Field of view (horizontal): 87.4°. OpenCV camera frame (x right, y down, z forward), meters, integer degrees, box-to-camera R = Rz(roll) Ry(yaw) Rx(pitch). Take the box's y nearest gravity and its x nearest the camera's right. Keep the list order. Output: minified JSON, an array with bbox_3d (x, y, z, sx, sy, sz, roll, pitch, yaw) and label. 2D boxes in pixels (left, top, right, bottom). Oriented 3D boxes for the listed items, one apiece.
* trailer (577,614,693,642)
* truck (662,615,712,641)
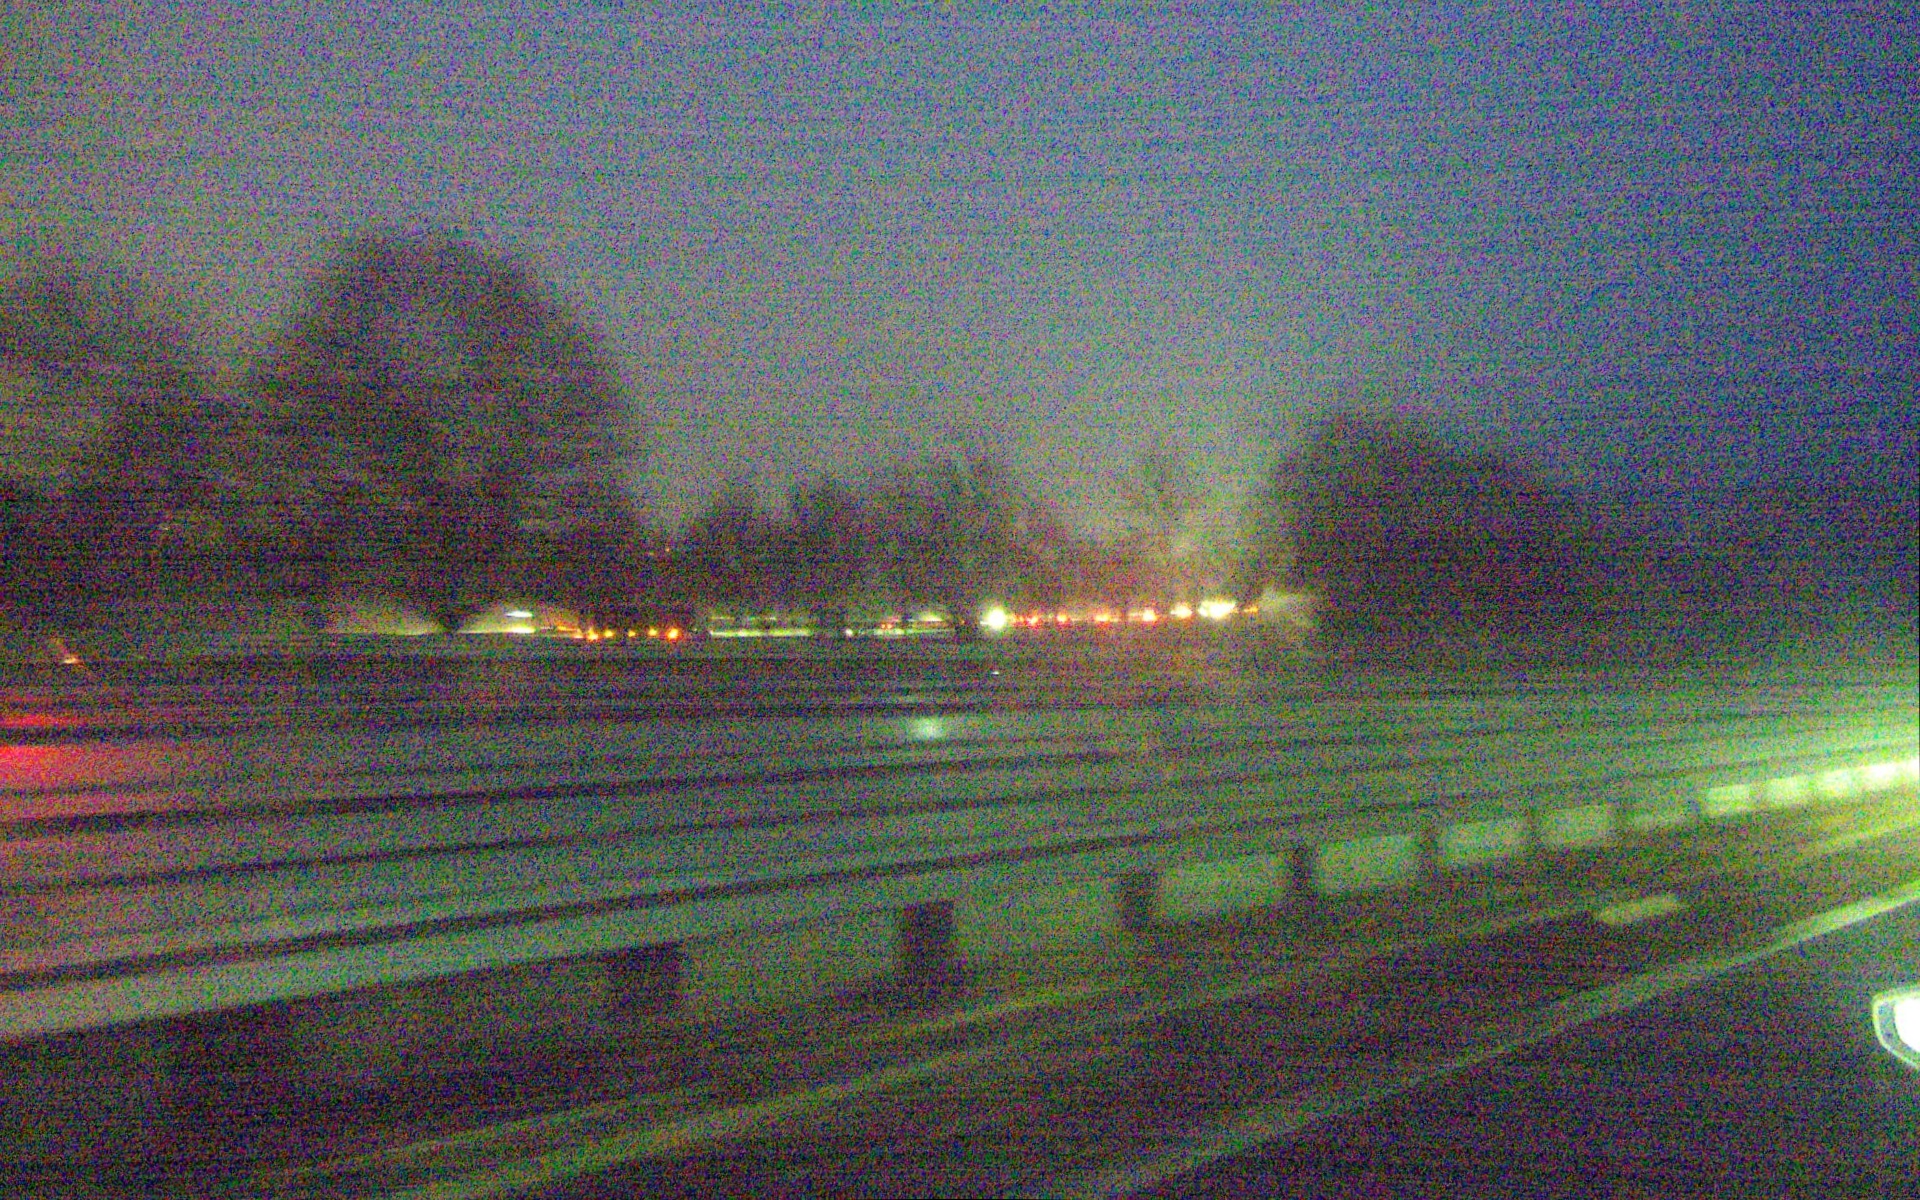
[{"bbox_3d":[-33.915,2.926,105.756,2.650,2.735,12.823,2,0,33],"label":"trailer"},{"bbox_3d":[-30.281,3.036,111.387,2.639,2.726,4.744,2,0,33],"label":"truck"}]
